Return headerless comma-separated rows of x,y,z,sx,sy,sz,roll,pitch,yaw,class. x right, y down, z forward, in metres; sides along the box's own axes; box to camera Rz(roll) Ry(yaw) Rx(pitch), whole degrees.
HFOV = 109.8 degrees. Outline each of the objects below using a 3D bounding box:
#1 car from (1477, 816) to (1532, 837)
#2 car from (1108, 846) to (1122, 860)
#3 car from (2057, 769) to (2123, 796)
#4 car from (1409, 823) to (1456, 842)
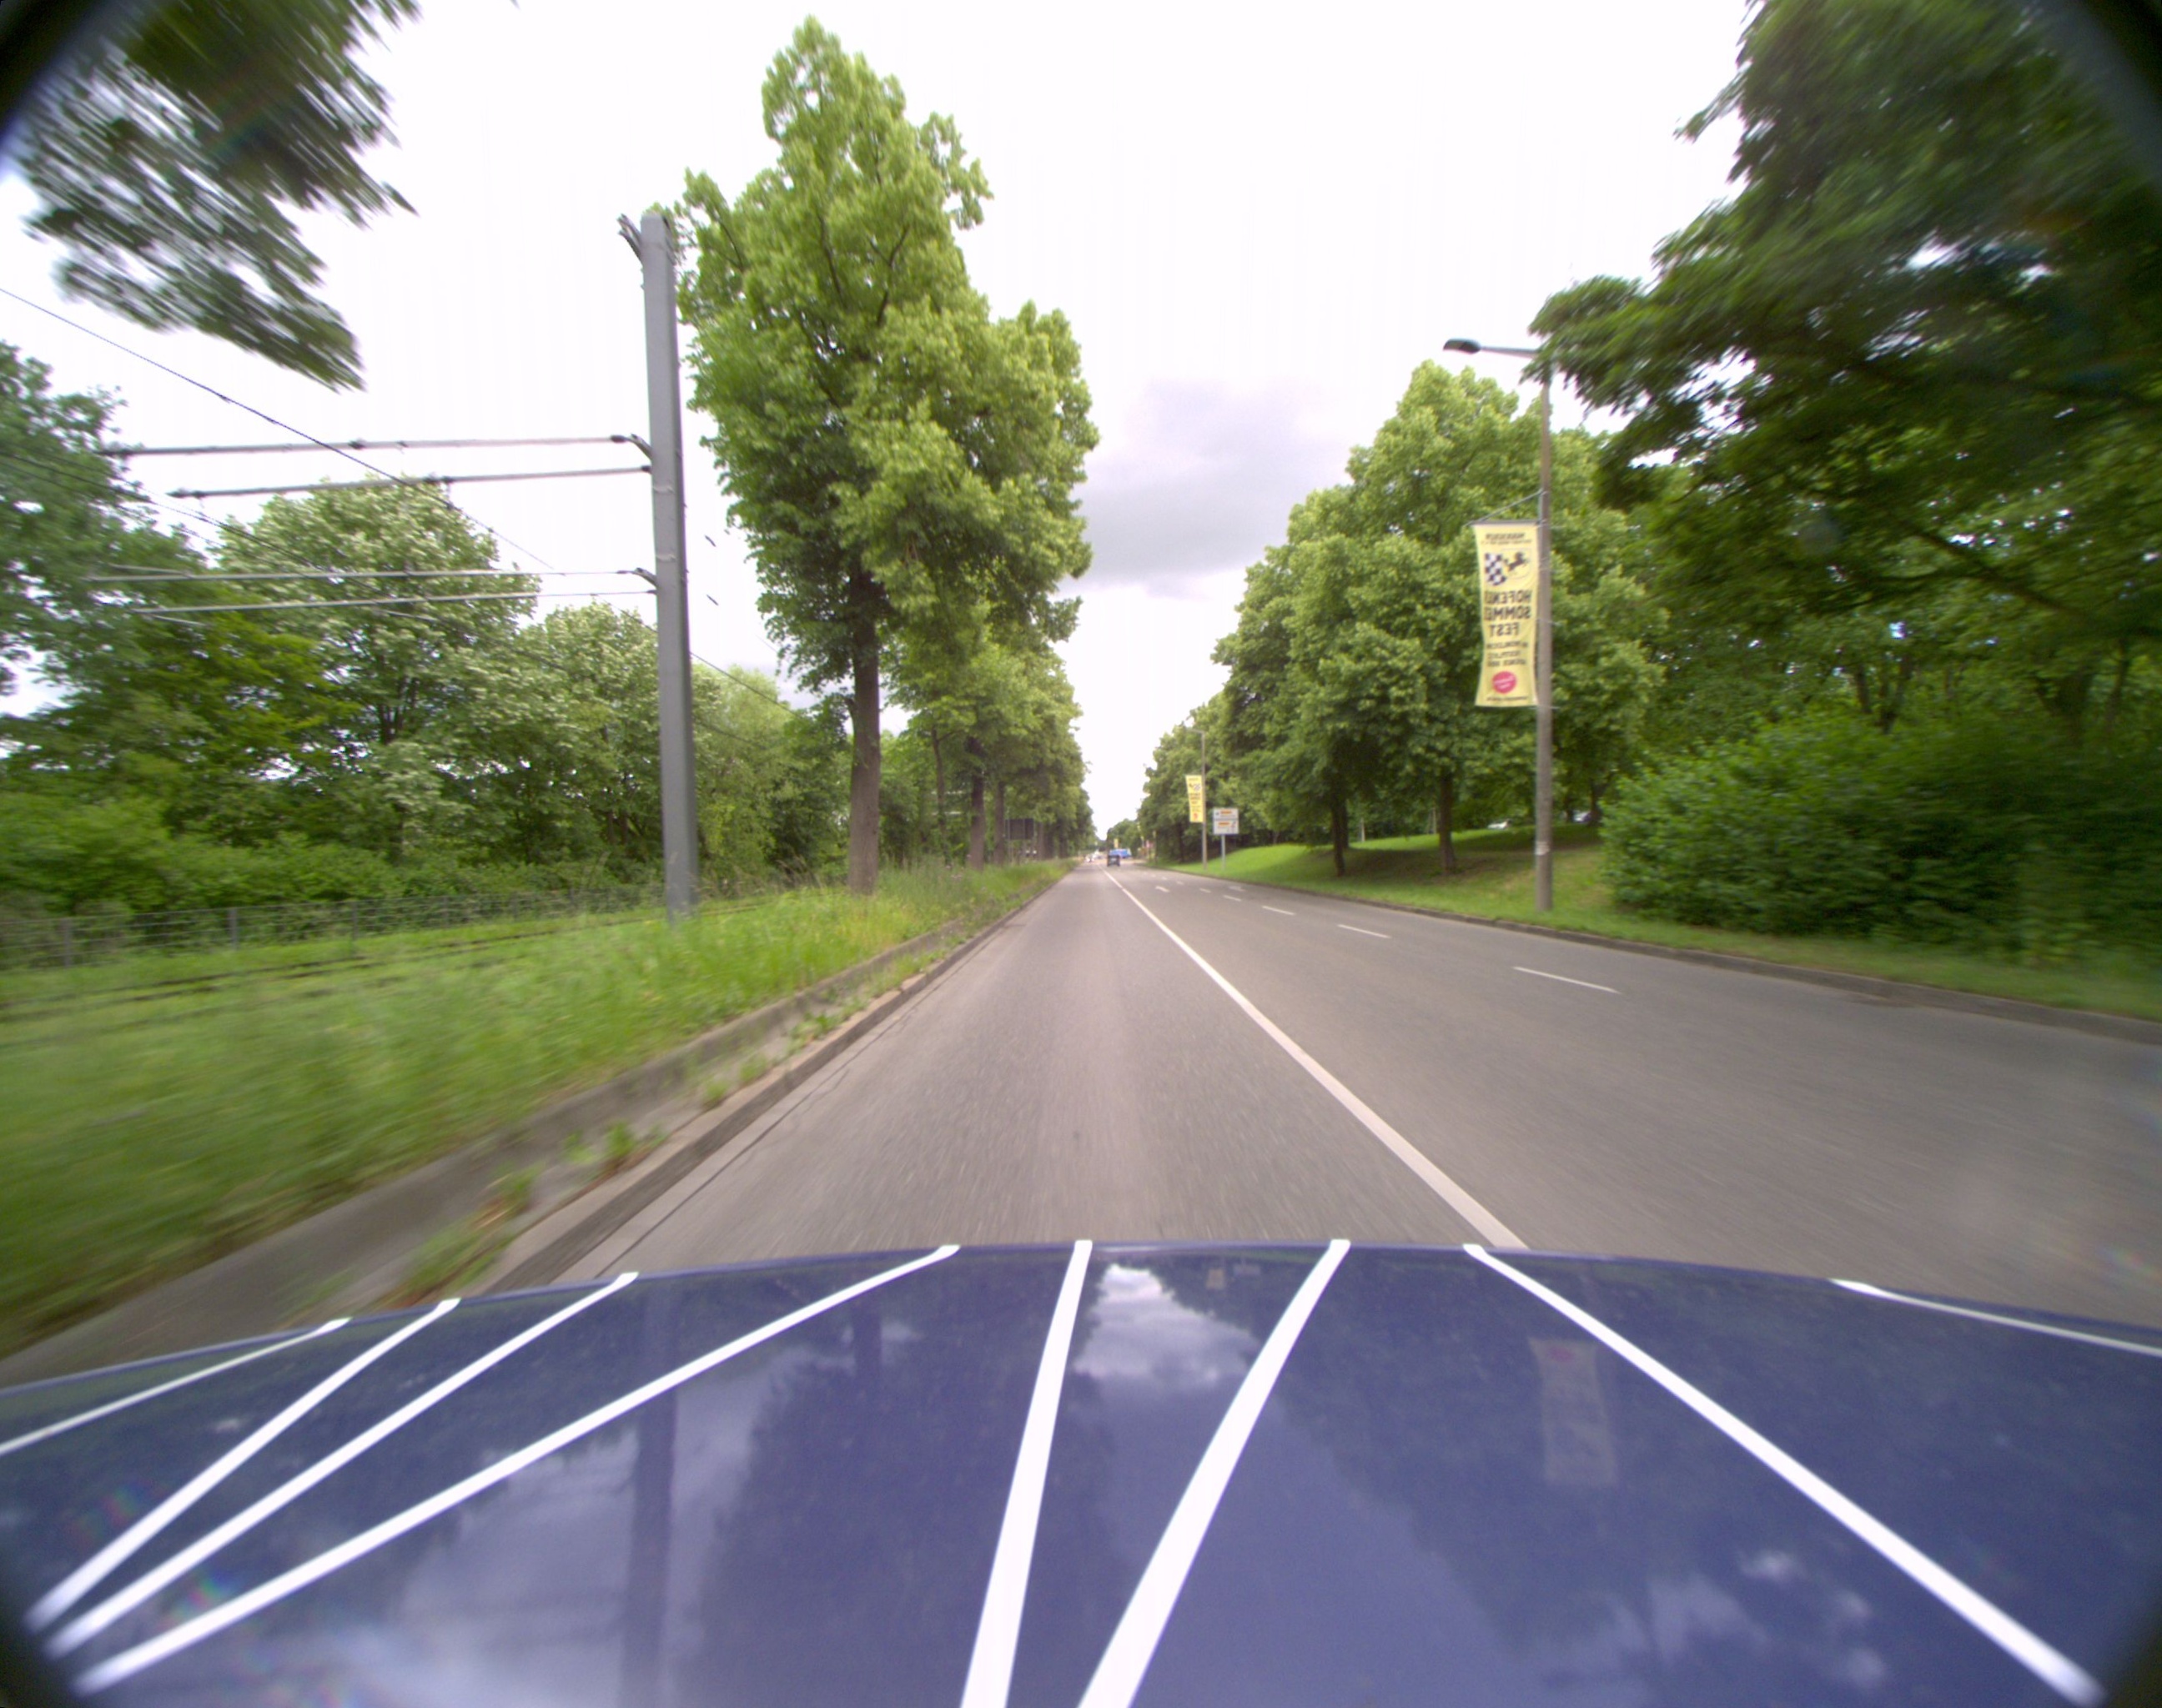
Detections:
42.251,-2.760,75.763,4.910,1.884,2.316,-3,1,-26,car
5.090,-0.148,114.442,1.998,1.944,5.183,-1,1,1,car
51.215,-3.612,38.558,3.513,1.226,1.397,-3,1,-27,car
38.541,-2.346,83.302,4.910,1.884,1.996,-3,1,-26,car
